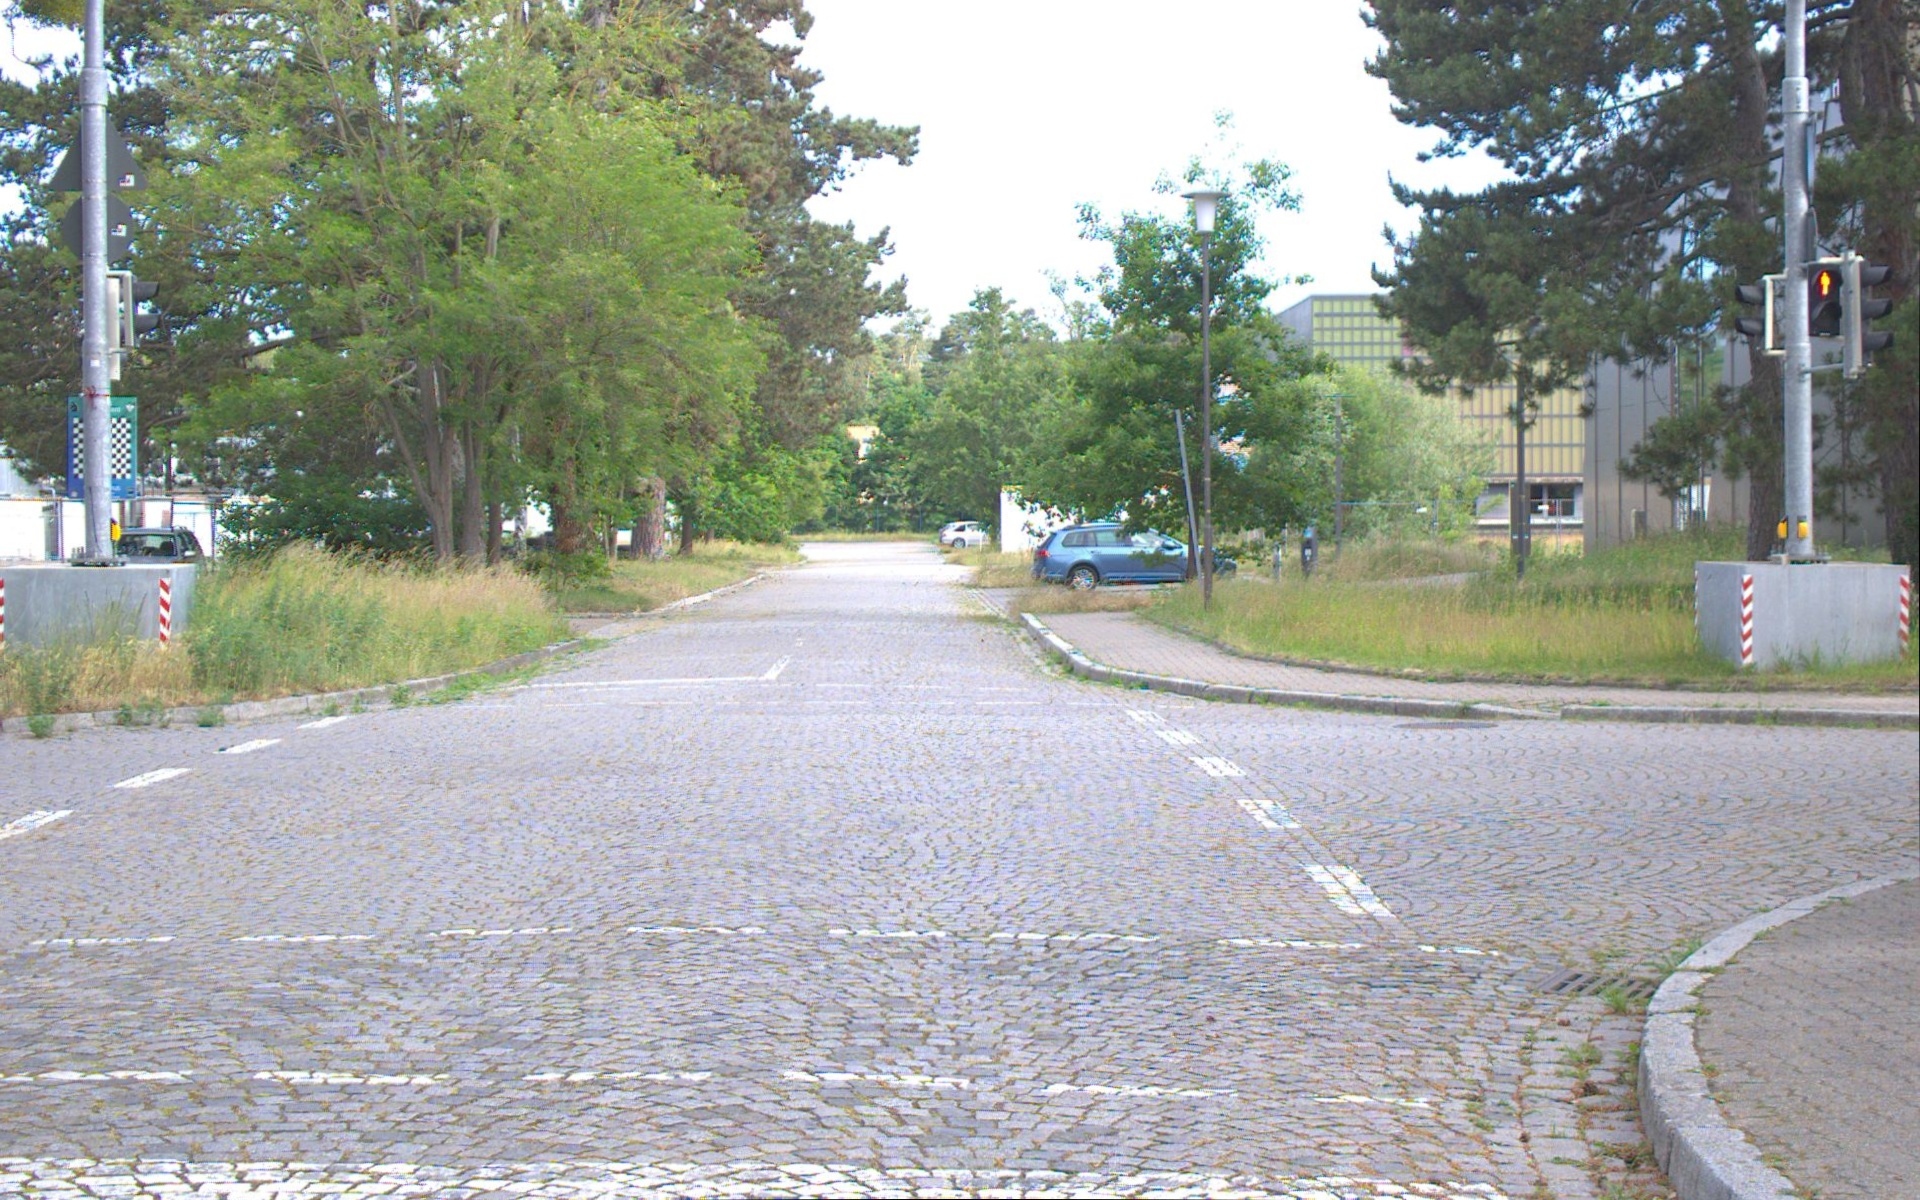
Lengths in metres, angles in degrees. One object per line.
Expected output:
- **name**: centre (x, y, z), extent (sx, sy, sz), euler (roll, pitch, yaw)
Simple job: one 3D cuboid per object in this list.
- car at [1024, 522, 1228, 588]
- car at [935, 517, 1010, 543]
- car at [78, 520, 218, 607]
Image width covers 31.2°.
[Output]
- **car**: centre (3.665, -1.003, 76.316), extent (4.343, 1.417, 2.000), euler (0, 1, -3)
- **car**: centre (0.701, -3.933, 193.352), extent (3.986, 1.393, 2.001), euler (0, 1, -6)
- **car**: centre (-14.423, -0.671, 61.233), extent (1.613, 1.482, 4.000), euler (0, 1, -1)
